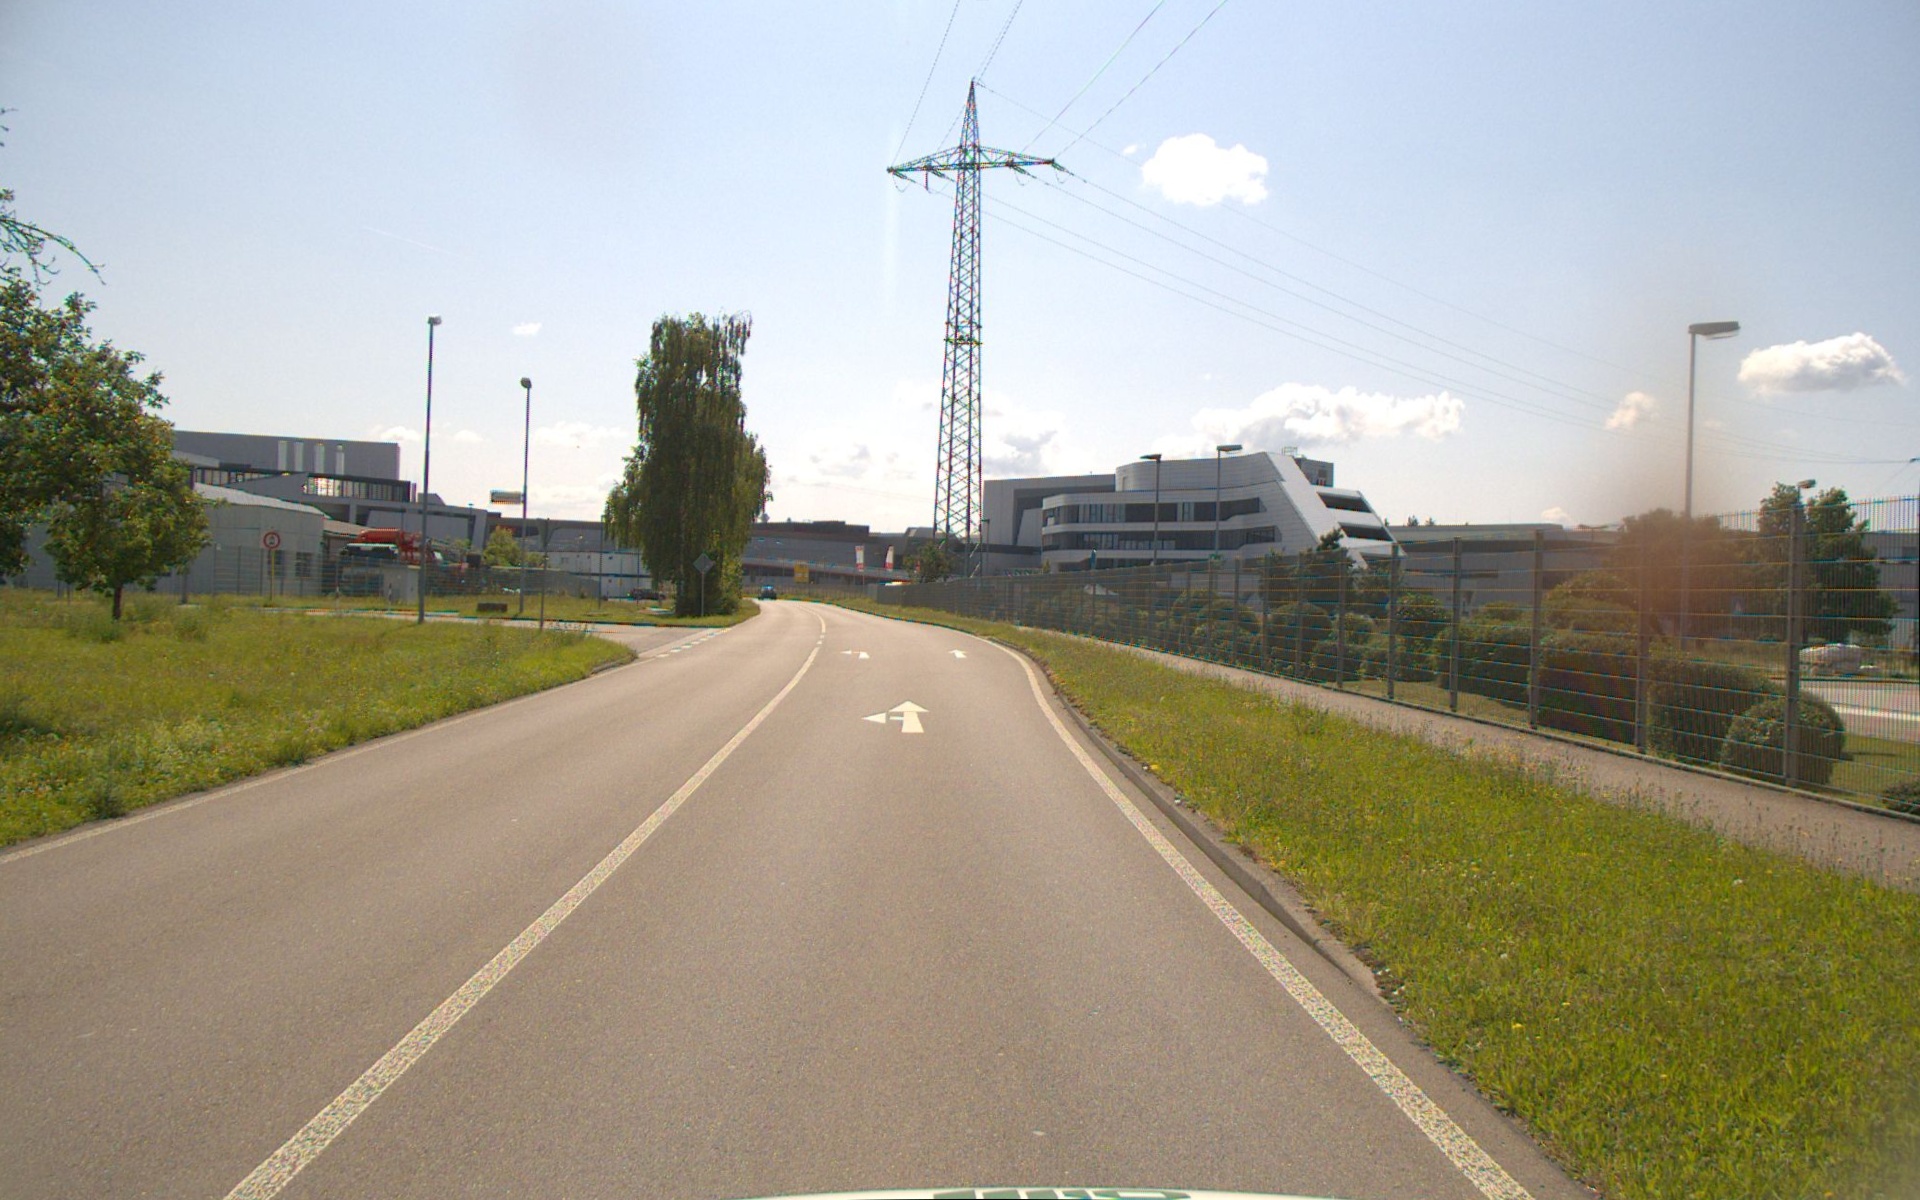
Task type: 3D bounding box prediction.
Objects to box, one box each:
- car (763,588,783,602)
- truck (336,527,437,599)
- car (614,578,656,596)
[{"bbox_3d":[-22.274,-0.608,196.856,1.971,1.534,3.999,2,0,-1],"label":"car"},{"bbox_3d":[-30.997,-1.925,89.842,2.700,3.621,10.255,2,0,-6],"label":"truck"},{"bbox_3d":[-32.244,-1.317,164.012,3.912,1.601,1.996,2,0,-8],"label":"car"}]
